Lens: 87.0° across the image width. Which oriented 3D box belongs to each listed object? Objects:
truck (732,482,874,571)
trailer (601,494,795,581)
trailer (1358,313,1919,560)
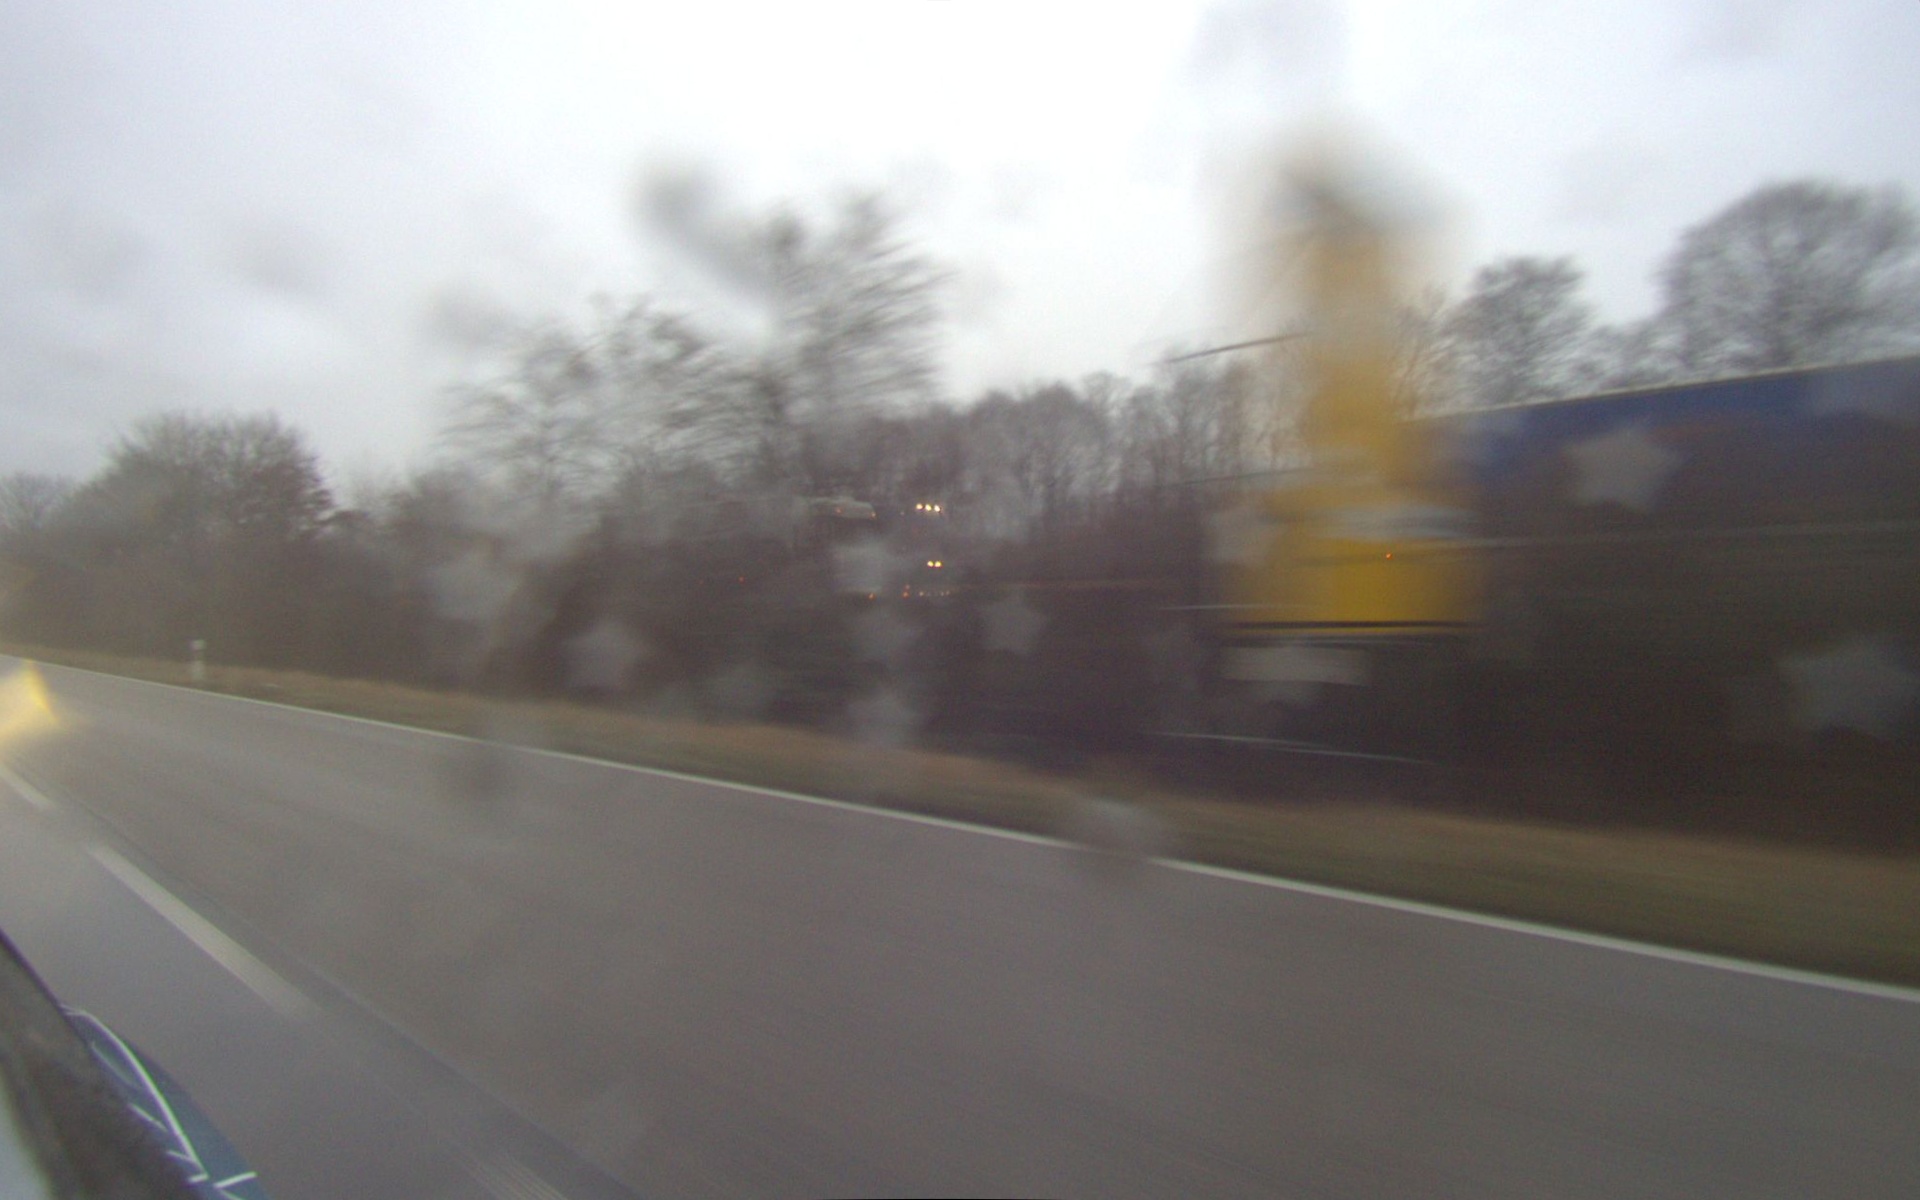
[{"bbox_3d":[-6.133,-2.722,39.217,5.581,2.909,2.424,-2,-2,41],"label":"truck"},{"bbox_3d":[-11.678,-2.520,44.129,11.080,2.913,2.410,-2,-2,41],"label":"trailer"},{"bbox_3d":[14.616,-3.015,21.096,11.380,3.661,2.967,-2,-2,41],"label":"trailer"}]
